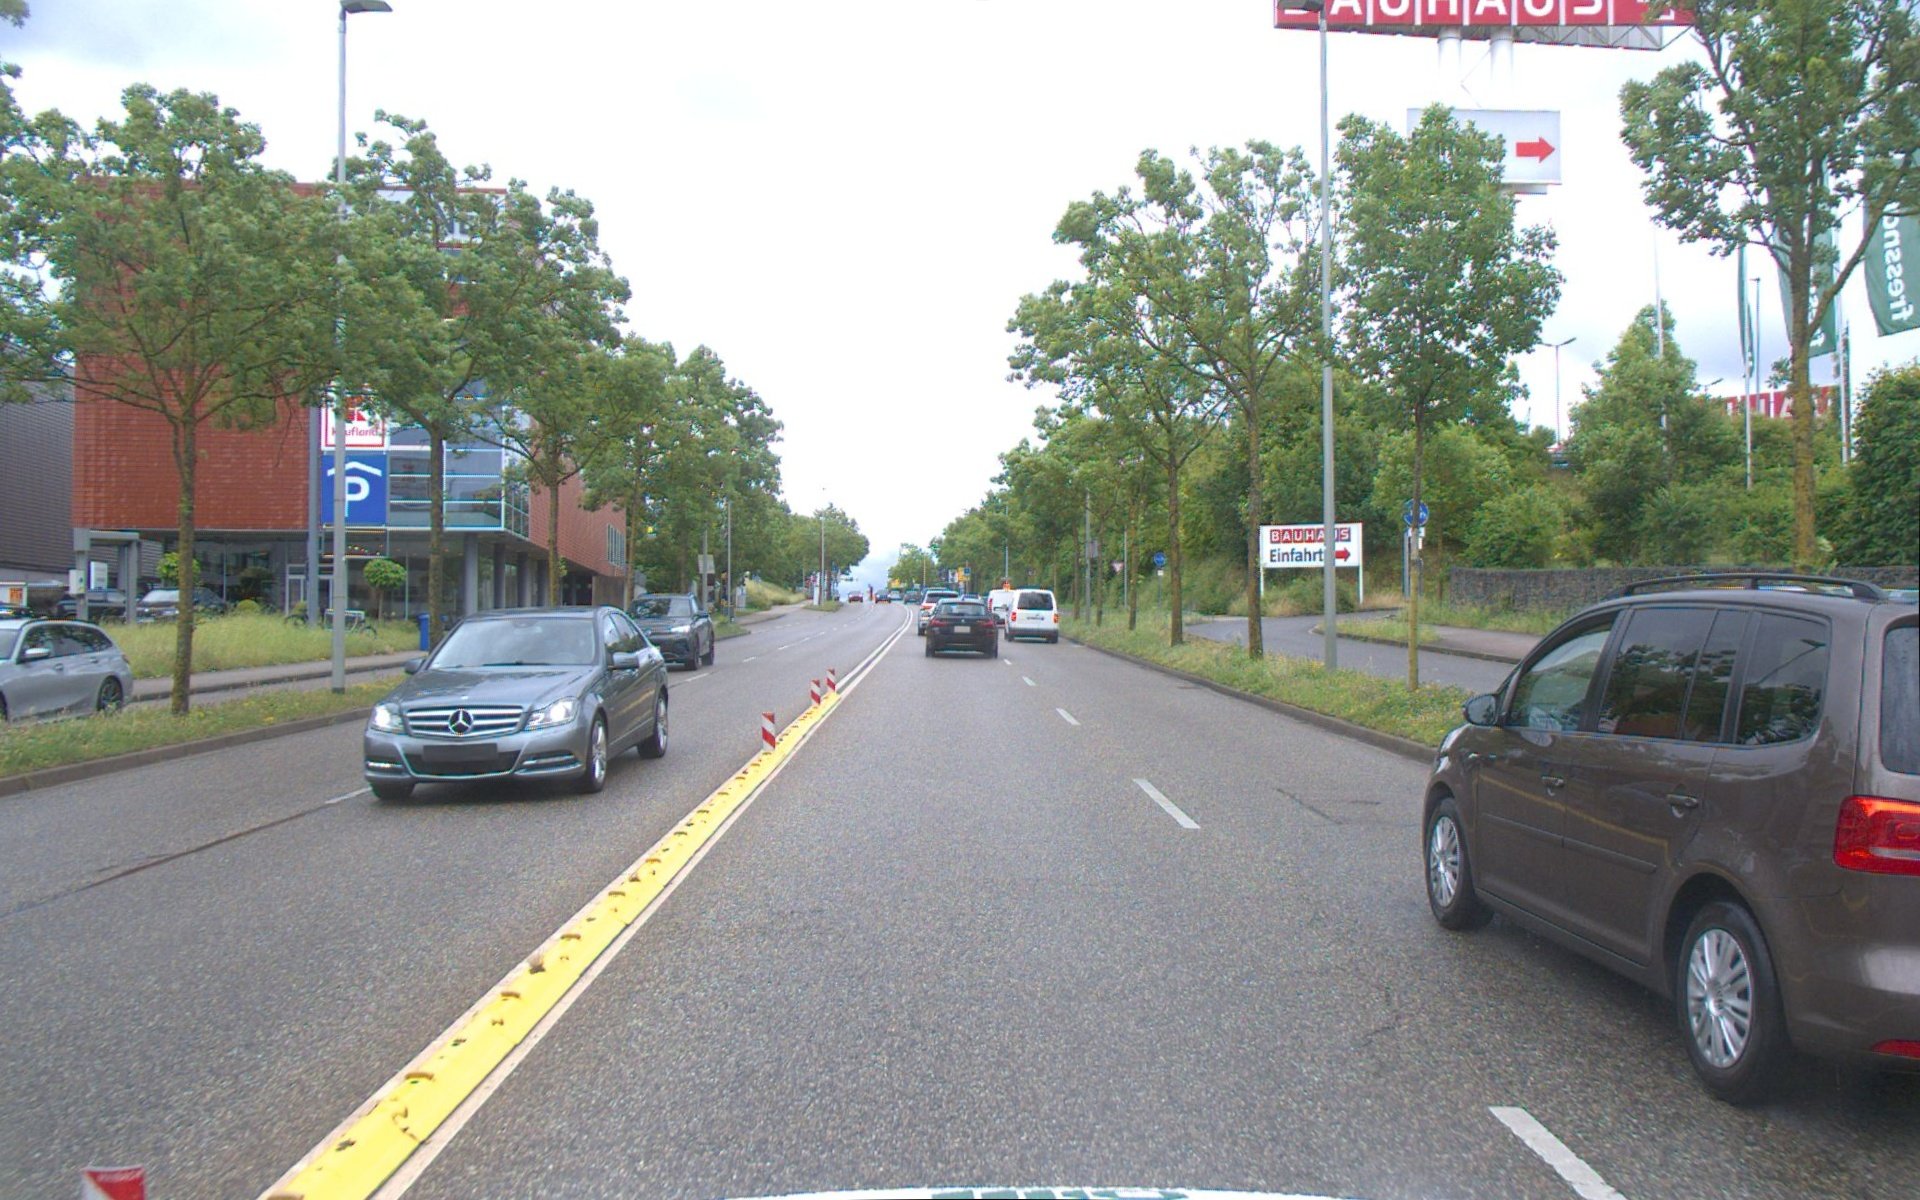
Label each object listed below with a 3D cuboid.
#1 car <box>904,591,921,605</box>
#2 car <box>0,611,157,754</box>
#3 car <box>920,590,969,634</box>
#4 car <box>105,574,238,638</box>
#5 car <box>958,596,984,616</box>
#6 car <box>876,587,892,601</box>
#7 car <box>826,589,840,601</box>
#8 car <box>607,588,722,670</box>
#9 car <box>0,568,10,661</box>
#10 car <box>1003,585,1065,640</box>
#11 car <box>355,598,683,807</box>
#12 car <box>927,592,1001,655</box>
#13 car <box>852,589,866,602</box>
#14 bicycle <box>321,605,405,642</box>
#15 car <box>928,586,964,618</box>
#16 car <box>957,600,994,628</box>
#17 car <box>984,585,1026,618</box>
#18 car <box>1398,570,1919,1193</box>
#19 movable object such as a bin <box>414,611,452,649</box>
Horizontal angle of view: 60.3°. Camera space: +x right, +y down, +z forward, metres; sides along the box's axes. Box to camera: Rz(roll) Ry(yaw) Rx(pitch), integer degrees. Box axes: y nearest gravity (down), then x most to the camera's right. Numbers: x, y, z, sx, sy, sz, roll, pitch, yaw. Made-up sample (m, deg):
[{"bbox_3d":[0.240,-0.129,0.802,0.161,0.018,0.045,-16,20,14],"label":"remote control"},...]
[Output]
[{"bbox_3d":[-5.375,-0.212,187.110,1.758,1.537,3.998,2,-1,-3],"label":"car"},{"bbox_3d":[-11.905,0.986,20.385,1.829,1.580,4.574,-2,0,-2],"label":"car"},{"bbox_3d":[-0.614,0.457,62.762,1.758,1.537,3.999,2,-1,-1],"label":"car"},{"bbox_3d":[-24.181,0.135,50.918,2.095,1.804,4.605,1,1,-3],"label":"car"},{"bbox_3d":[0.845,0.503,132.024,1.759,1.537,3.996,2,-1,-4],"label":"car"},{"bbox_3d":[-9.152,-0.716,199.314,1.759,1.537,3.996,2,-1,-4],"label":"car"},{"bbox_3d":[-16.916,-0.704,220.620,1.759,1.537,3.996,2,-1,-4],"label":"car"},{"bbox_3d":[-6.478,0.601,36.729,1.751,1.642,4.436,-2,0,-1],"label":"car"},{"bbox_3d":[-22.780,0.388,35.932,2.075,2.132,5.110,1,1,-10],"label":"car"},{"bbox_3d":[2.549,0.401,57.925,1.790,1.789,3.998,2,0,-2],"label":"car"},{"bbox_3d":[-3.570,0.744,14.199,1.633,1.434,4.377,-2,0,-1],"label":"car"},{"bbox_3d":[0.094,0.568,42.342,1.790,1.494,4.000,1,0,0],"label":"car"},{"bbox_3d":[-12.973,-0.609,212.840,1.759,1.537,3.996,2,-1,-4],"label":"car"},{"bbox_3d":[-17.826,0.702,49.400,2.034,0.951,1.094,4,-1,3],"label":"bicycle"},{"bbox_3d":[-0.747,0.111,85.354,1.758,1.537,3.999,2,-1,-1],"label":"car"},{"bbox_3d":[0.851,0.784,94.549,1.759,1.537,3.996,2,-1,-4],"label":"car"},{"bbox_3d":[2.208,0.081,81.364,1.758,1.537,3.998,2,-1,-2],"label":"car"},{"bbox_3d":[3.162,0.736,6.421,1.651,1.609,4.217,1,0,-2],"label":"car"},{"bbox_3d":[-16.129,0.910,50.653,0.802,1.098,1.086,2,0,-1],"label":"movable object such as a bin"}]
